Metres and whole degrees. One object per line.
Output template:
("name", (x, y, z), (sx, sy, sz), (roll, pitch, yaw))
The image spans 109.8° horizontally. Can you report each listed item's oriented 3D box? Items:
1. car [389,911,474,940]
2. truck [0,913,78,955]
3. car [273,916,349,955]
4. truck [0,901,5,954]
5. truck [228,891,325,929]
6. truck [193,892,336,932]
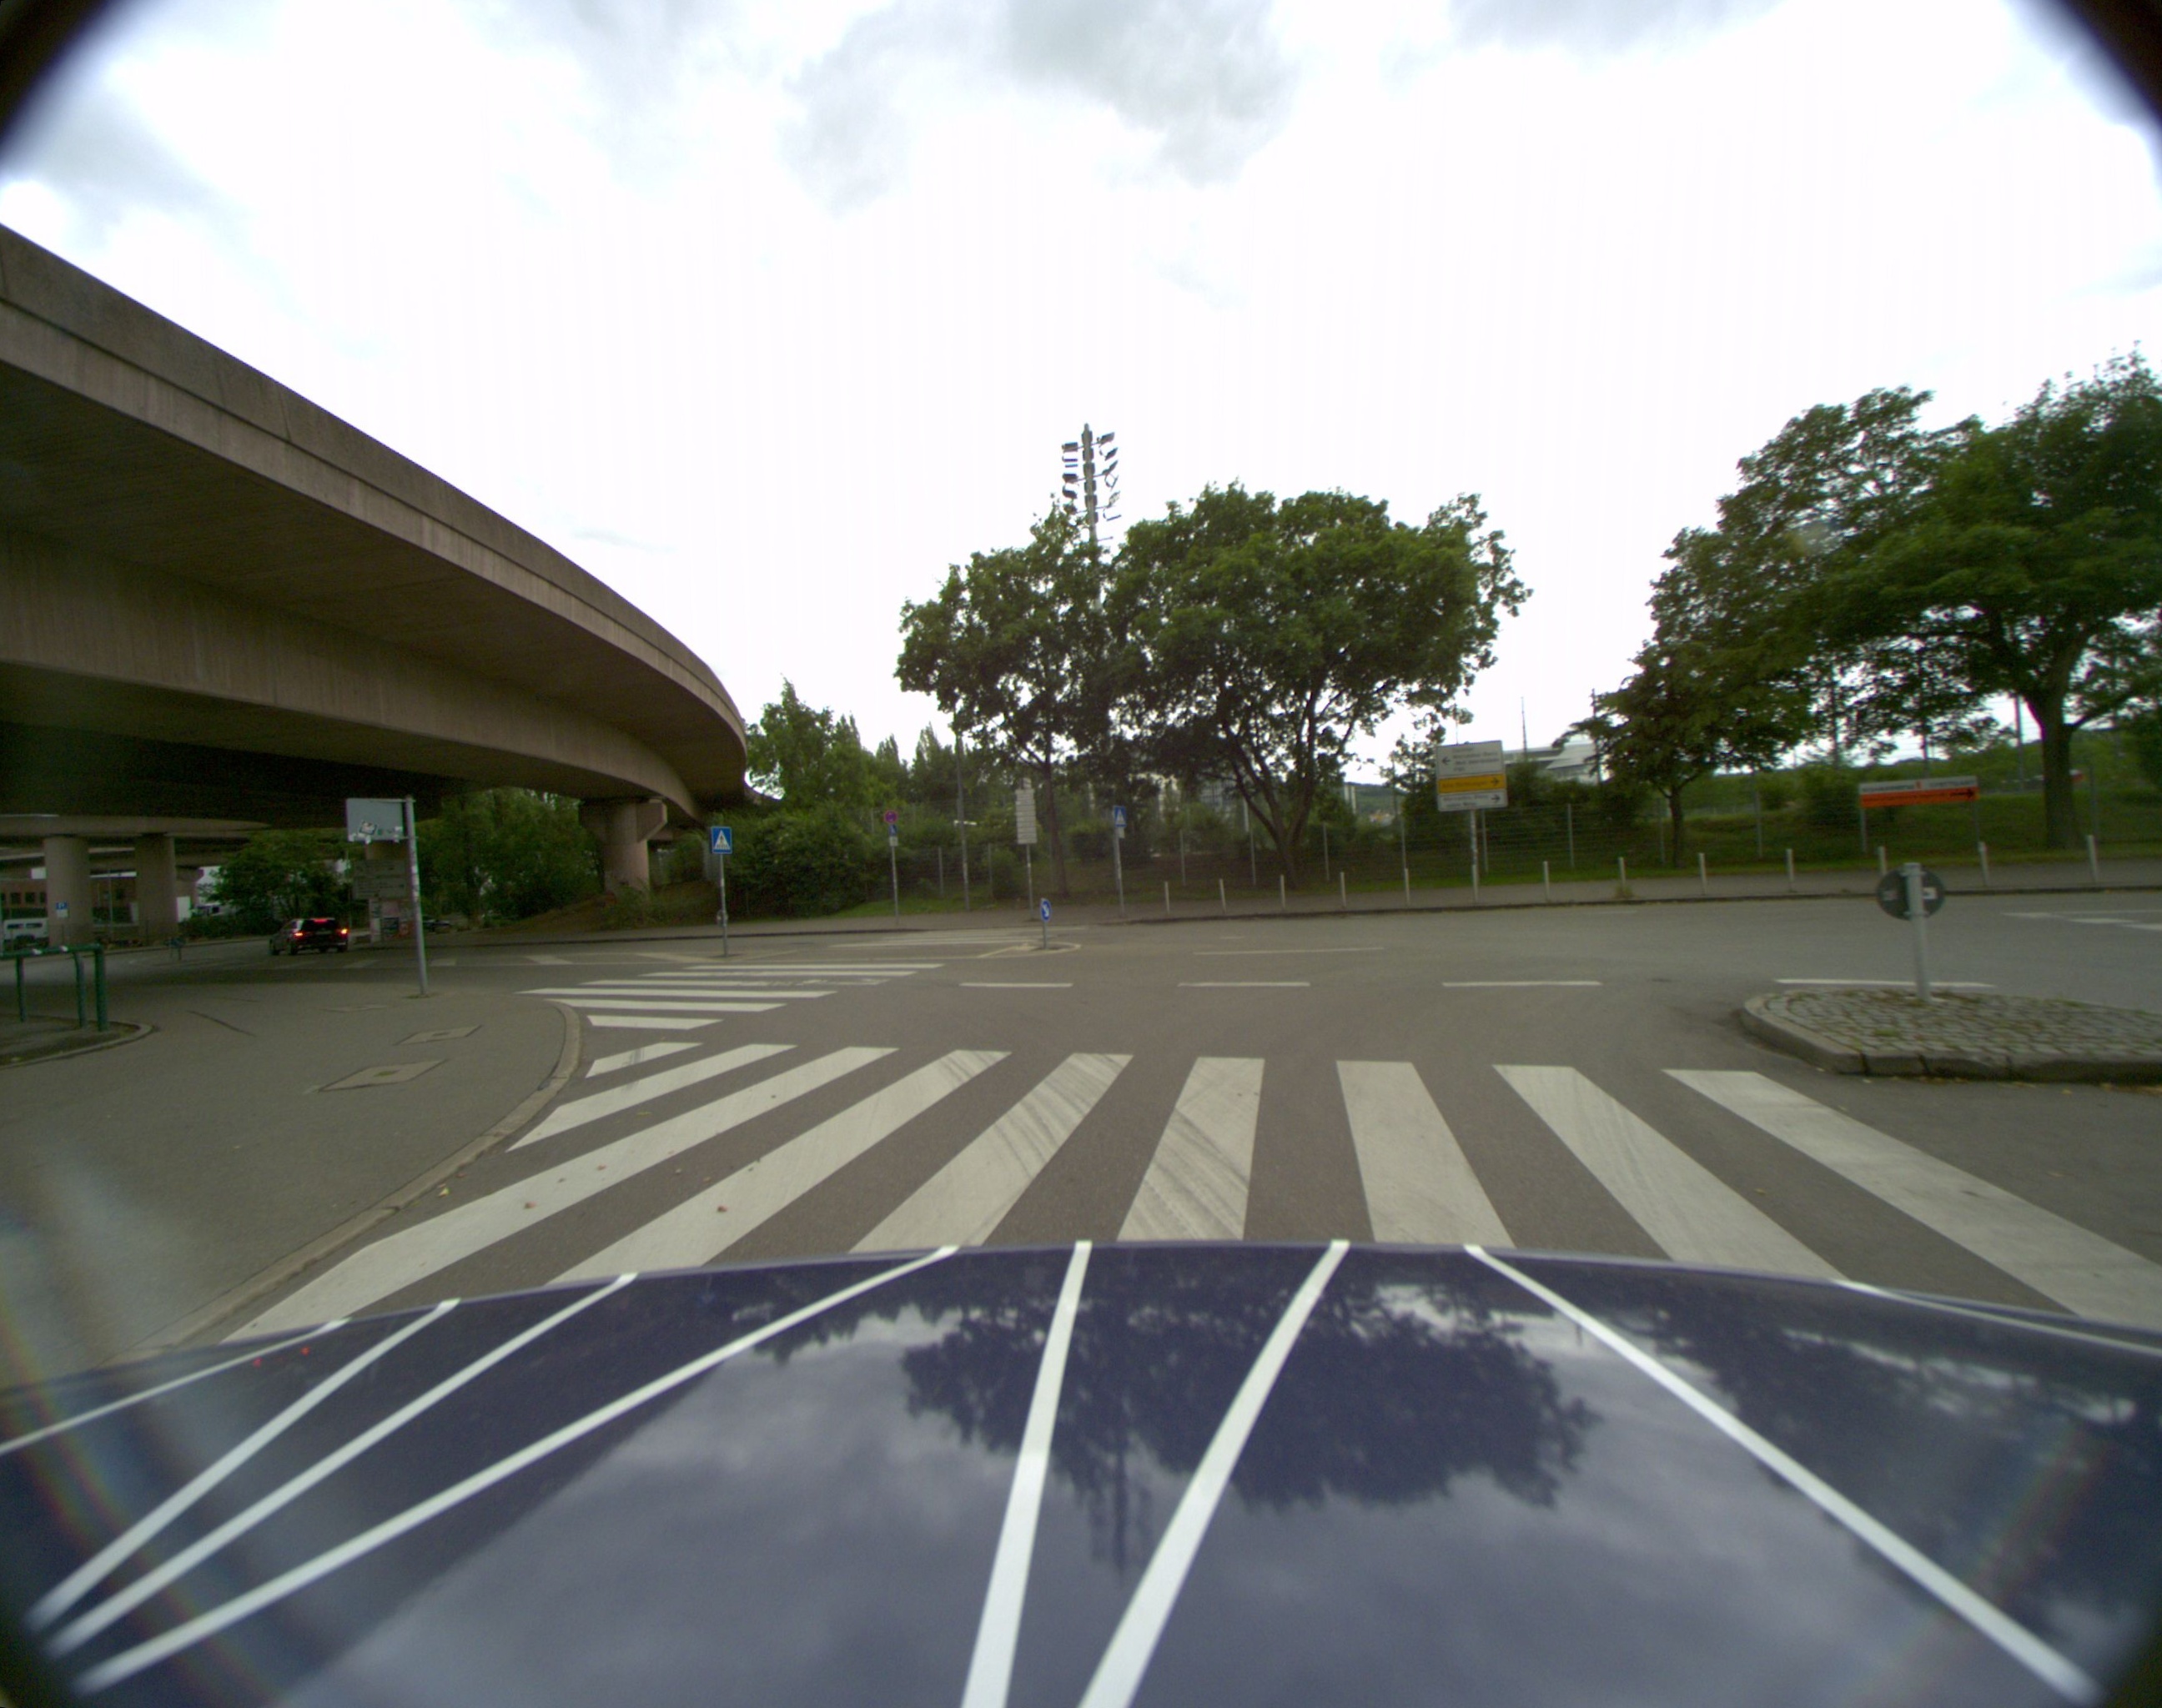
("car", (-44.511, 4.869, 52.201), (1.827, 1.422, 4.773), (-6, -1, -3))
("truck", (-77.068, 5.818, 55.077), (2.428, 2.727, 7.222), (-3, -1, -28))
("car", (-35.935, 3.771, 35.423), (4.538, 1.565, 1.849), (-4, -1, 37))
("truck", (-92.249, 6.190, 58.439), (3.906, 4.339, 10.150), (-4, -1, 19))
("truck", (-83.674, 5.774, 79.177), (2.266, 3.388, 6.423), (-2, -1, 22))
("truck", (-86.599, 6.095, 80.993), (2.266, 3.477, 10.231), (-2, -1, 20))
